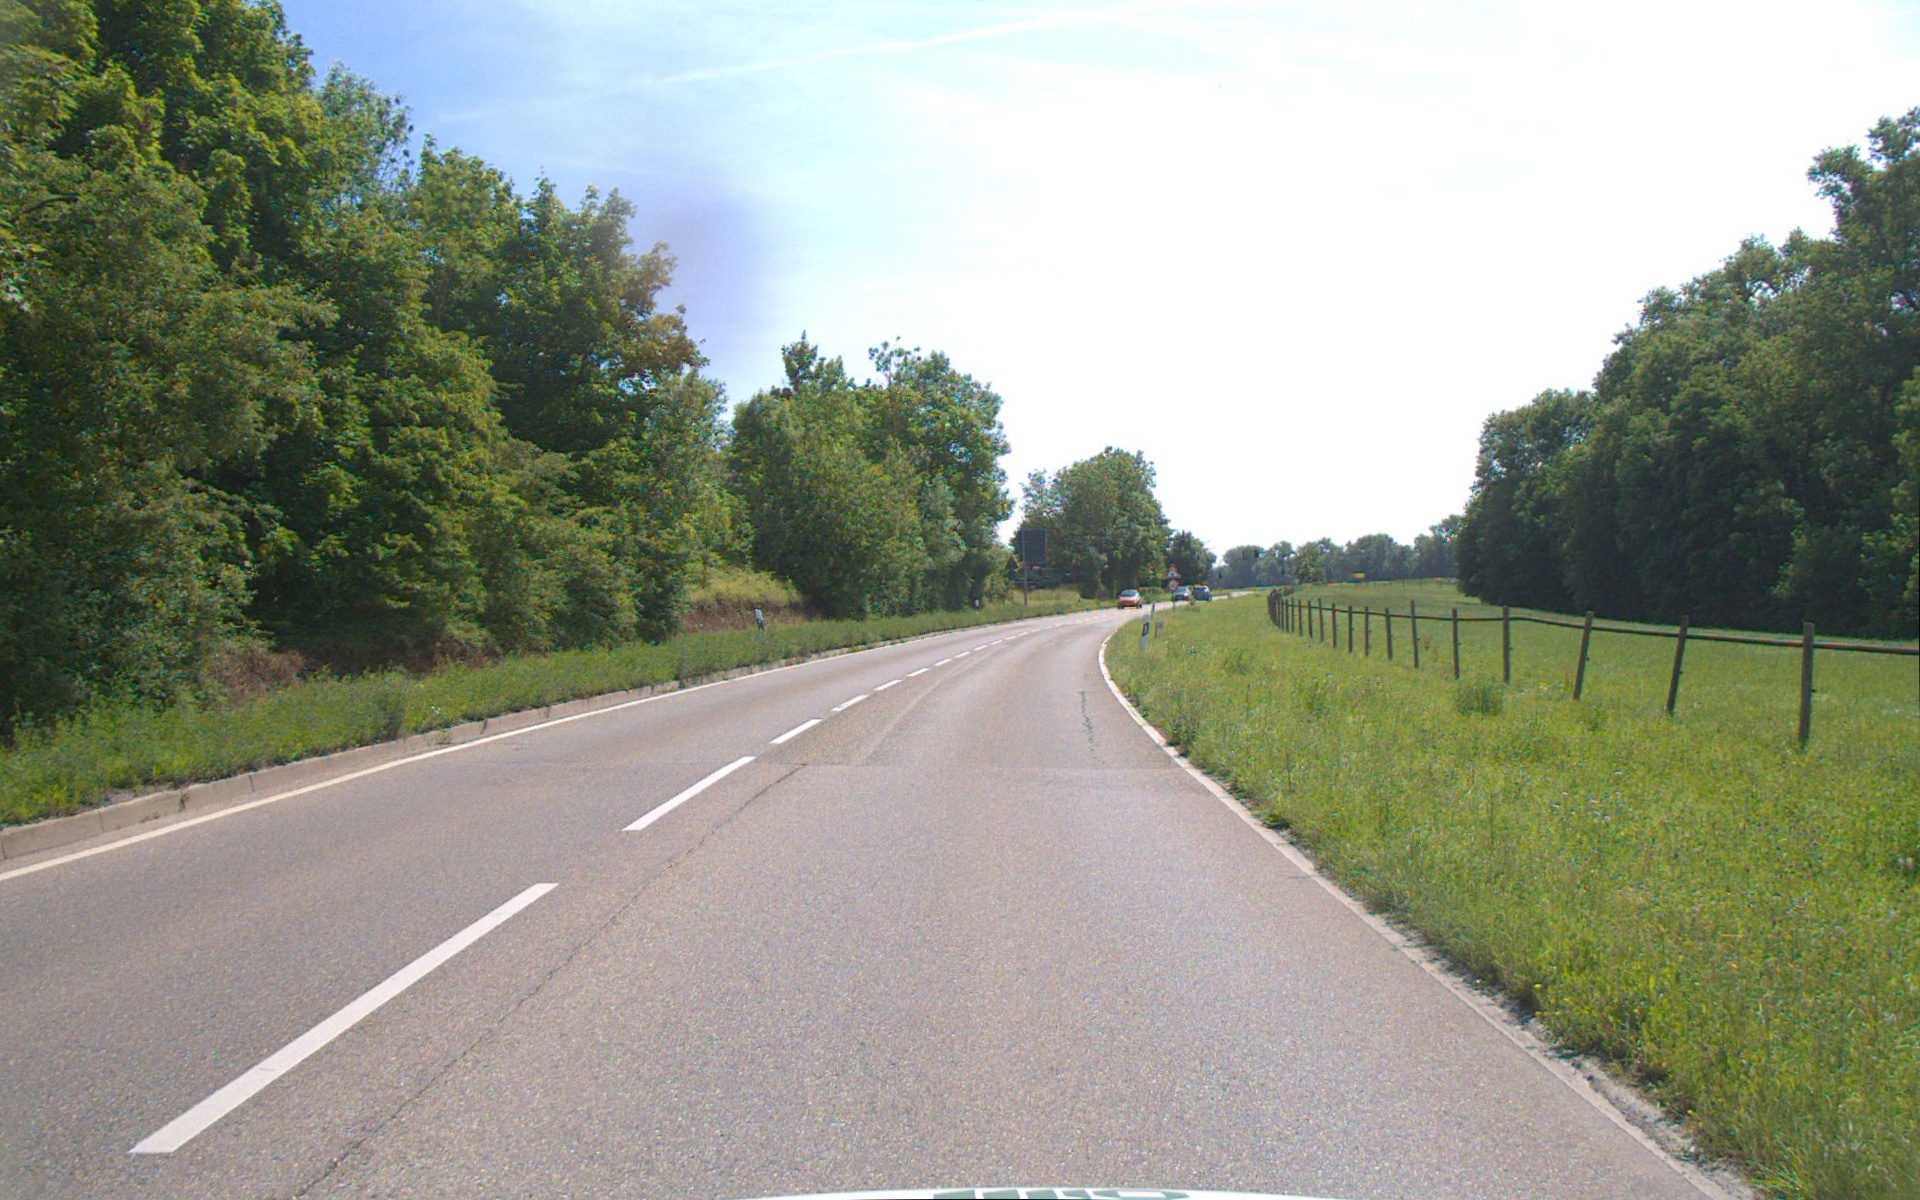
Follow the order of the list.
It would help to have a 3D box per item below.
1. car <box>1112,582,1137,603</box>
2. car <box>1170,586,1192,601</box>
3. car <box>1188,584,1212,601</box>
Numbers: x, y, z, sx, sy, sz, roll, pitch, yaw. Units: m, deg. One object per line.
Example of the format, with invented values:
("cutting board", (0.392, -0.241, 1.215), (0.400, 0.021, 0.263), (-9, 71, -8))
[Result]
("car", (12.405, -0.573, 124.424), (1.782, 1.494, 4.003), (1, 1, 7))
("car", (22.974, -0.670, 172.011), (1.782, 1.494, 4.003), (1, 1, 15))
("car", (23.000, -0.704, 158.431), (1.951, 1.601, 4.003), (1, 0, 12))
